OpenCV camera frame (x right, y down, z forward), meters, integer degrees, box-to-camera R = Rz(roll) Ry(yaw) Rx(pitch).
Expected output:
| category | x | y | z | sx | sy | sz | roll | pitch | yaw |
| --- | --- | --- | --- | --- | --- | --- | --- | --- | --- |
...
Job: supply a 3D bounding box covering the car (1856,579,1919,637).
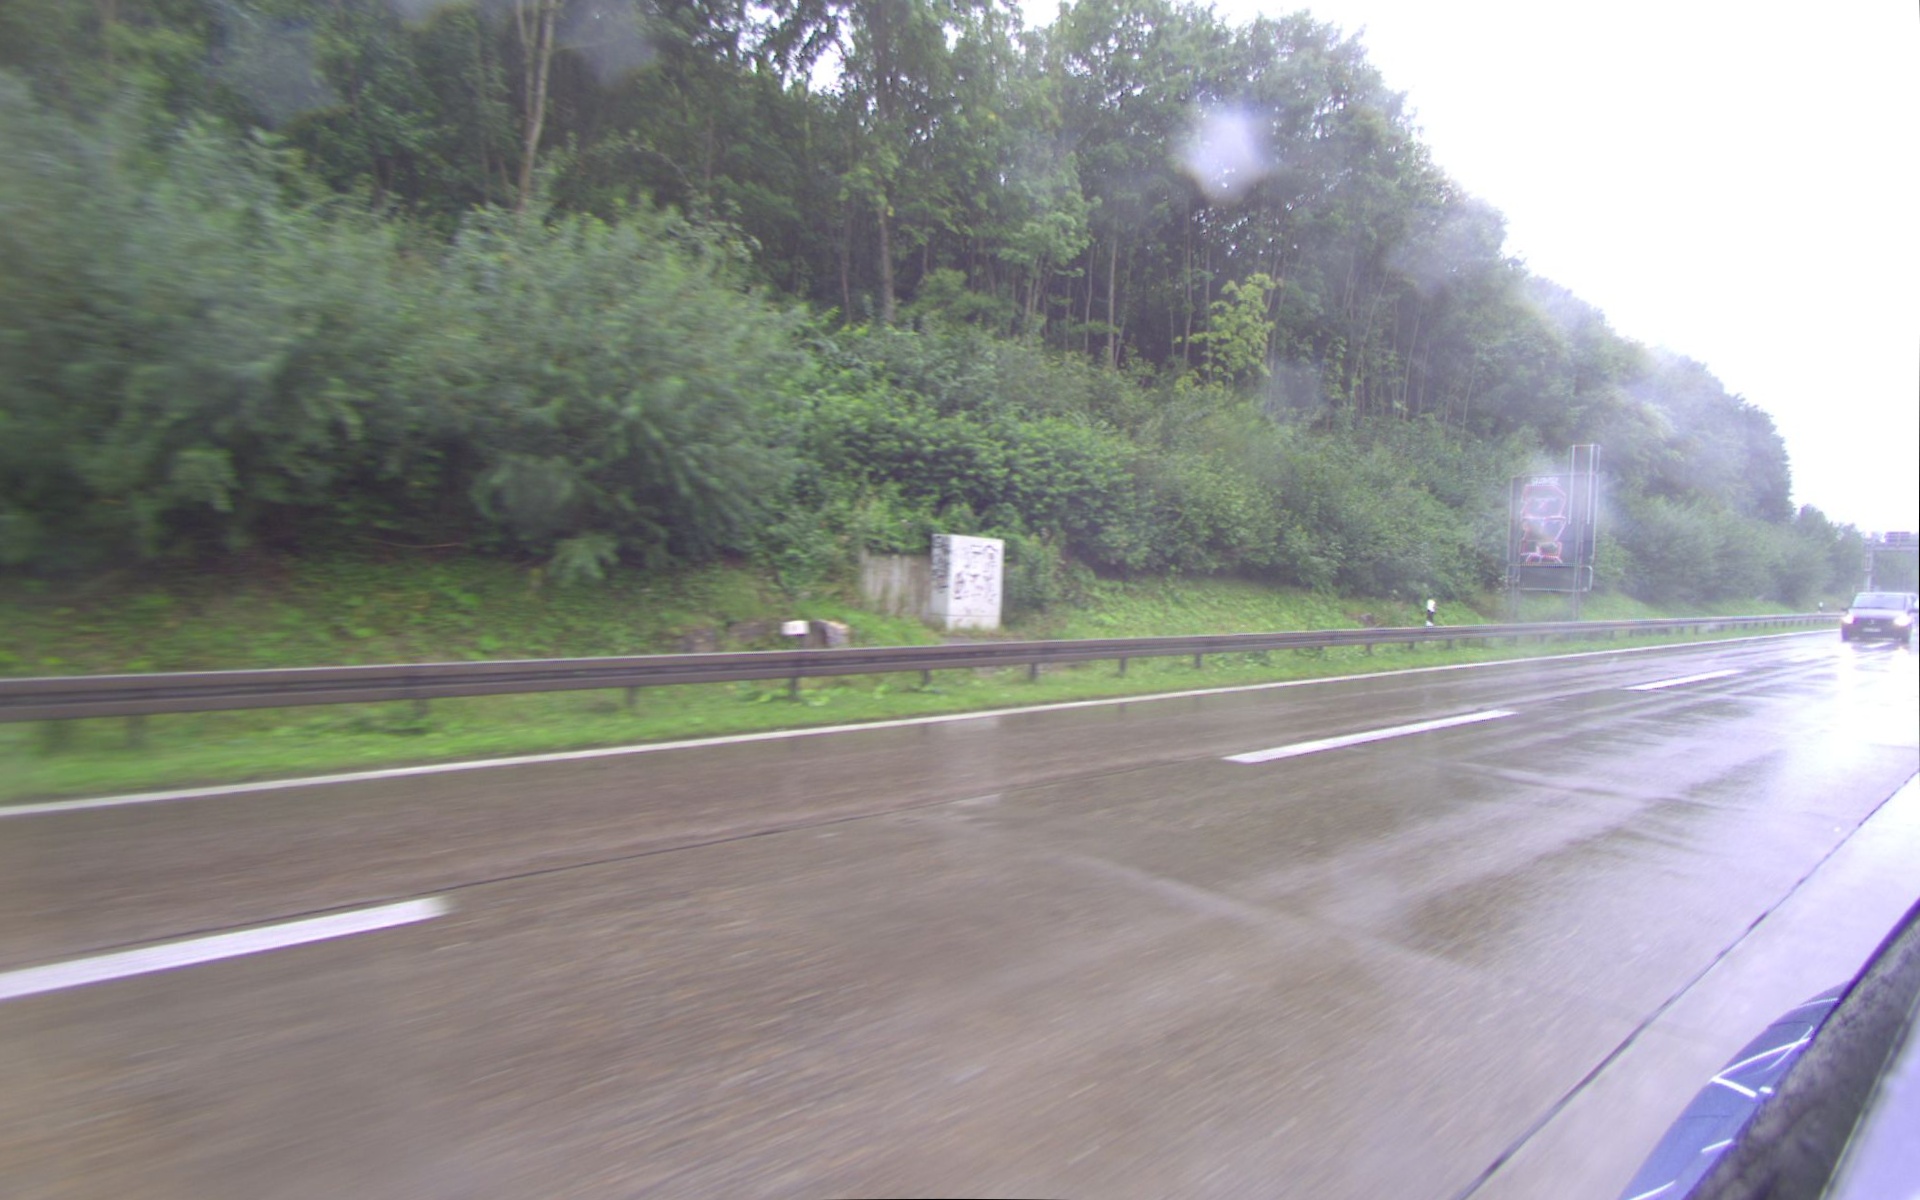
| category | x | y | z | sx | sy | sz | roll | pitch | yaw |
| --- | --- | --- | --- | --- | --- | --- | --- | --- | --- |
| car | 35.007 | 0.284 | 37.618 | 3.927 | 2.039 | 1.859 | 0 | 1 | -38 |
